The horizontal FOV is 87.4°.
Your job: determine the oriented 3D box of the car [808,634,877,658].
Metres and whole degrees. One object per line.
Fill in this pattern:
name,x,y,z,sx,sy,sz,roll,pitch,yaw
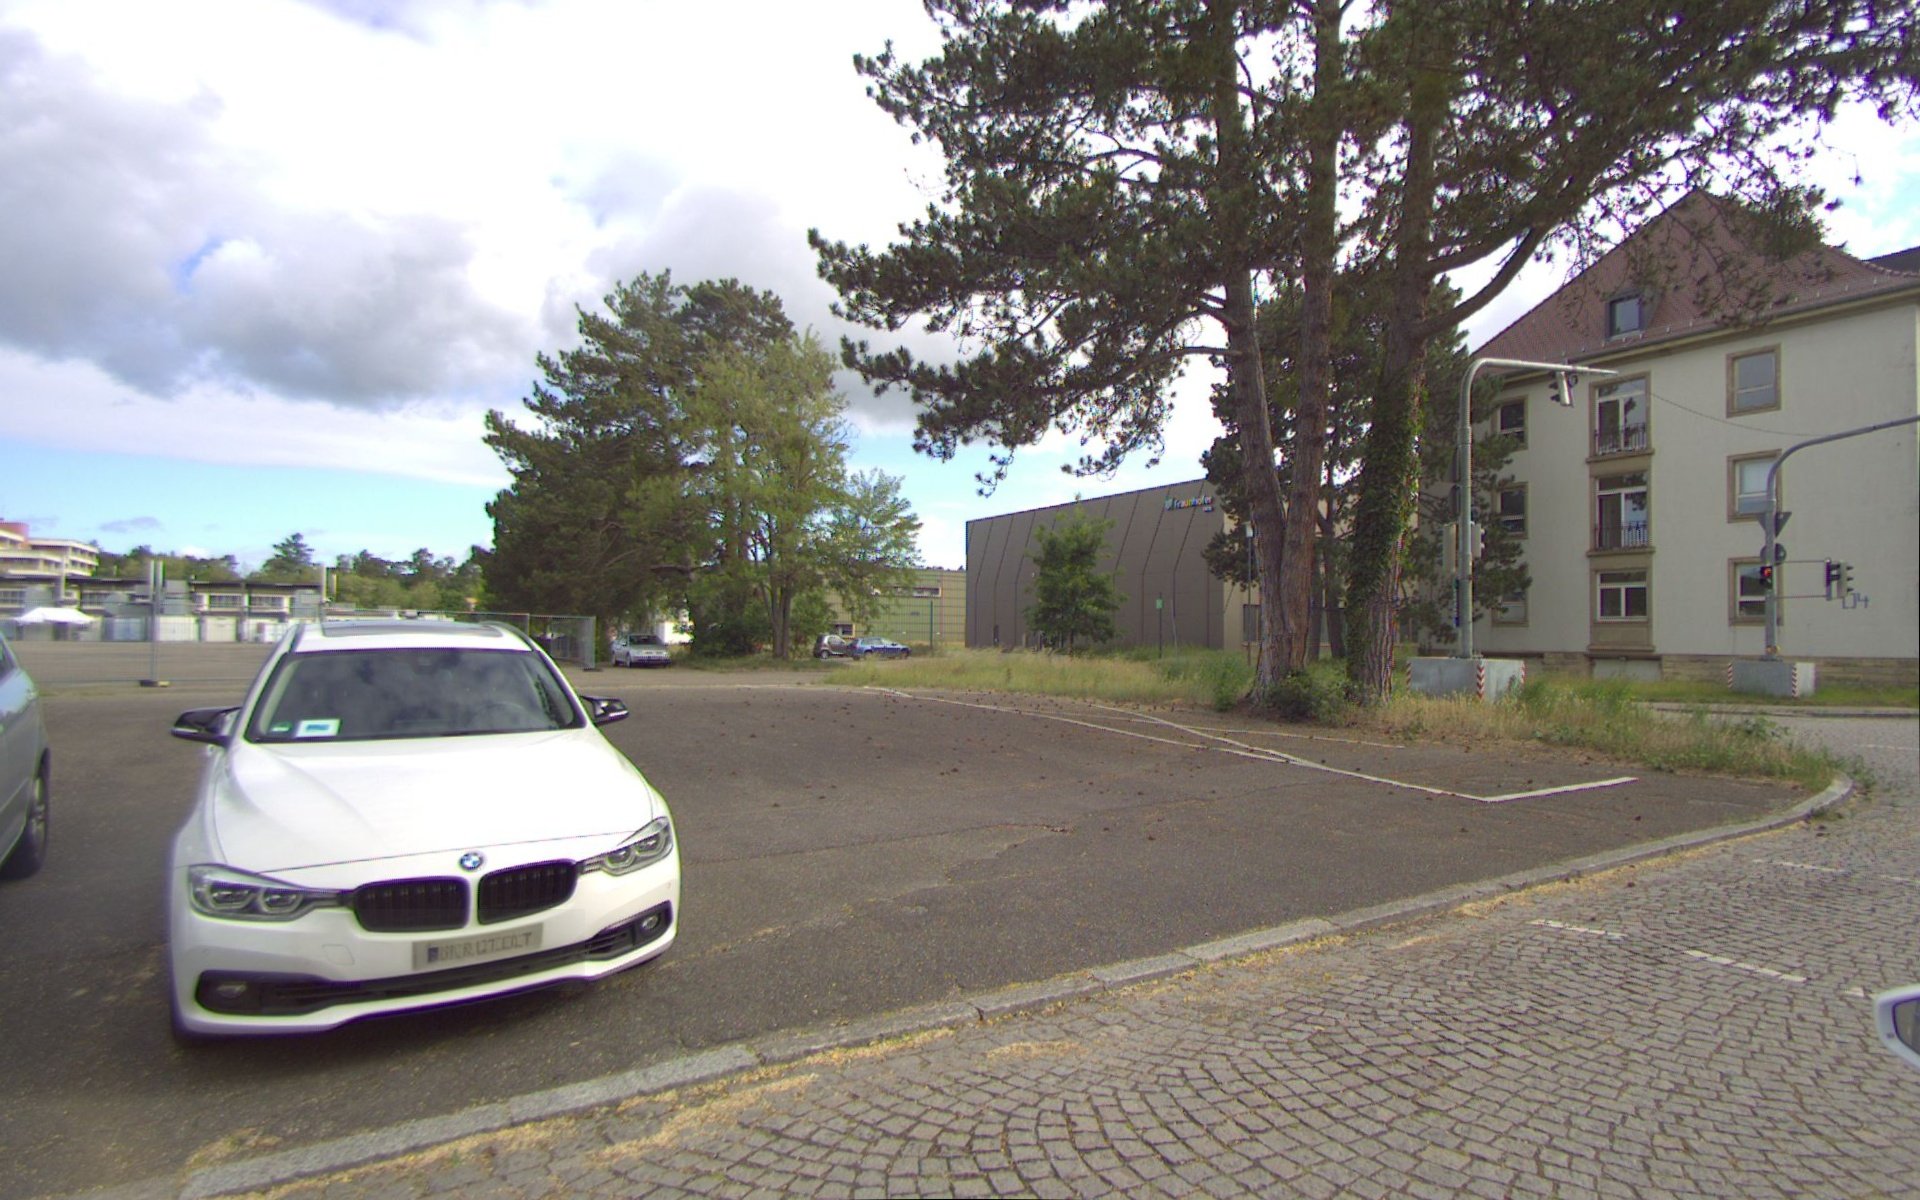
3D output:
car,-8.368,3.268,71.413,4.480,1.552,1.984,0,-1,-31

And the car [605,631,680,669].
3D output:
car,-13.459,2.084,42.477,1.905,1.496,4.329,2,-2,-33

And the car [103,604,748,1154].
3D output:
car,-2.919,0.831,5.399,1.893,1.459,4.777,2,0,-33

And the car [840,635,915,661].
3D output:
car,-5.299,3.054,64.653,4.486,1.552,1.981,0,-1,-35

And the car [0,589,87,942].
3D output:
car,-5.111,0.734,4.062,1.829,1.611,4.444,2,-1,-34
